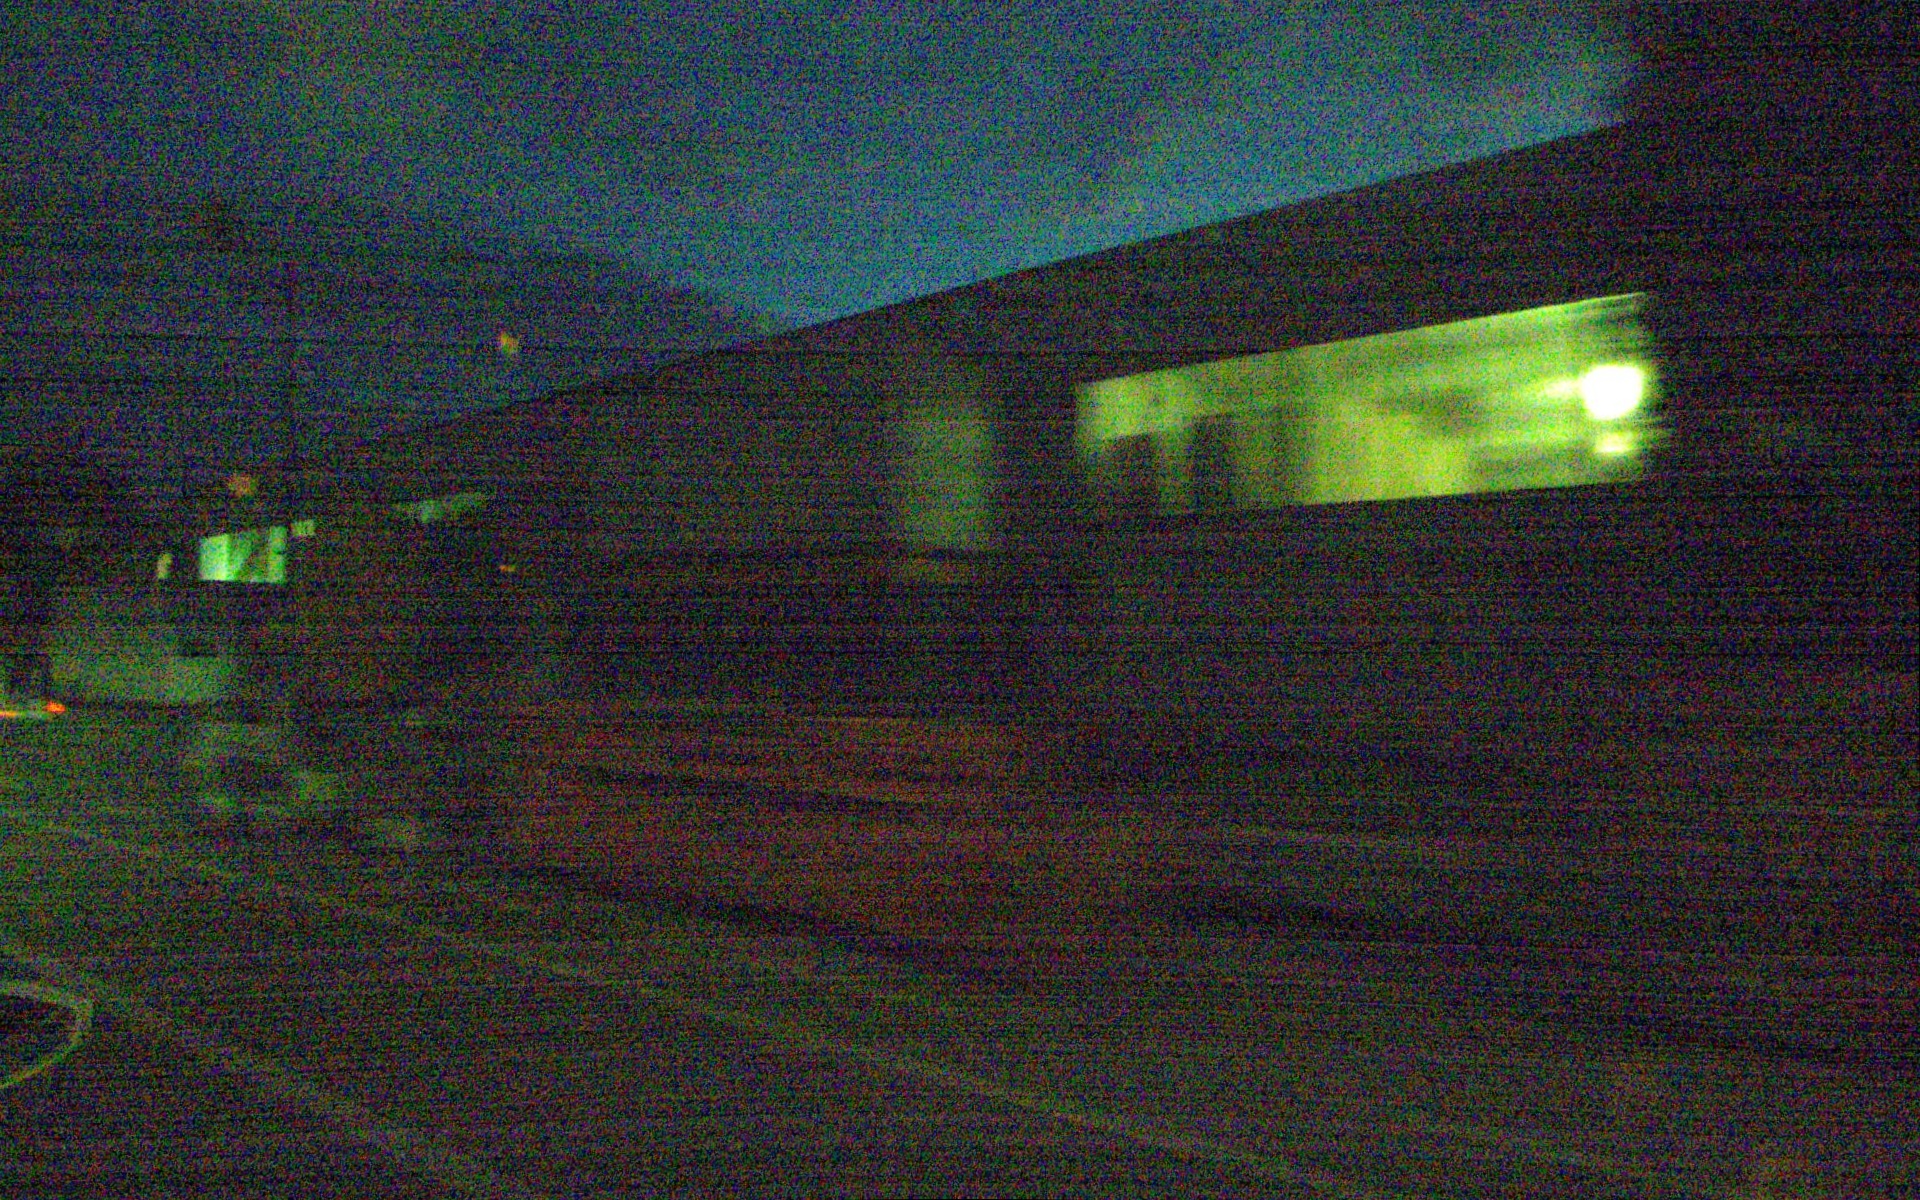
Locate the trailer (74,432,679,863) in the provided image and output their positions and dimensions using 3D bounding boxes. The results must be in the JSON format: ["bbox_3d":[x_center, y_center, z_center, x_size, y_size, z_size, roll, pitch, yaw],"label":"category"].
[{"bbox_3d":[-5.204,0.450,8.980,4.638,2.880,2.613,-2,-4,29],"label":"trailer"}]

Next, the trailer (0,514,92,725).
[{"bbox_3d":[-17.273,0.316,16.099,4.791,3.258,3.481,-1,-4,29],"label":"trailer"}]
